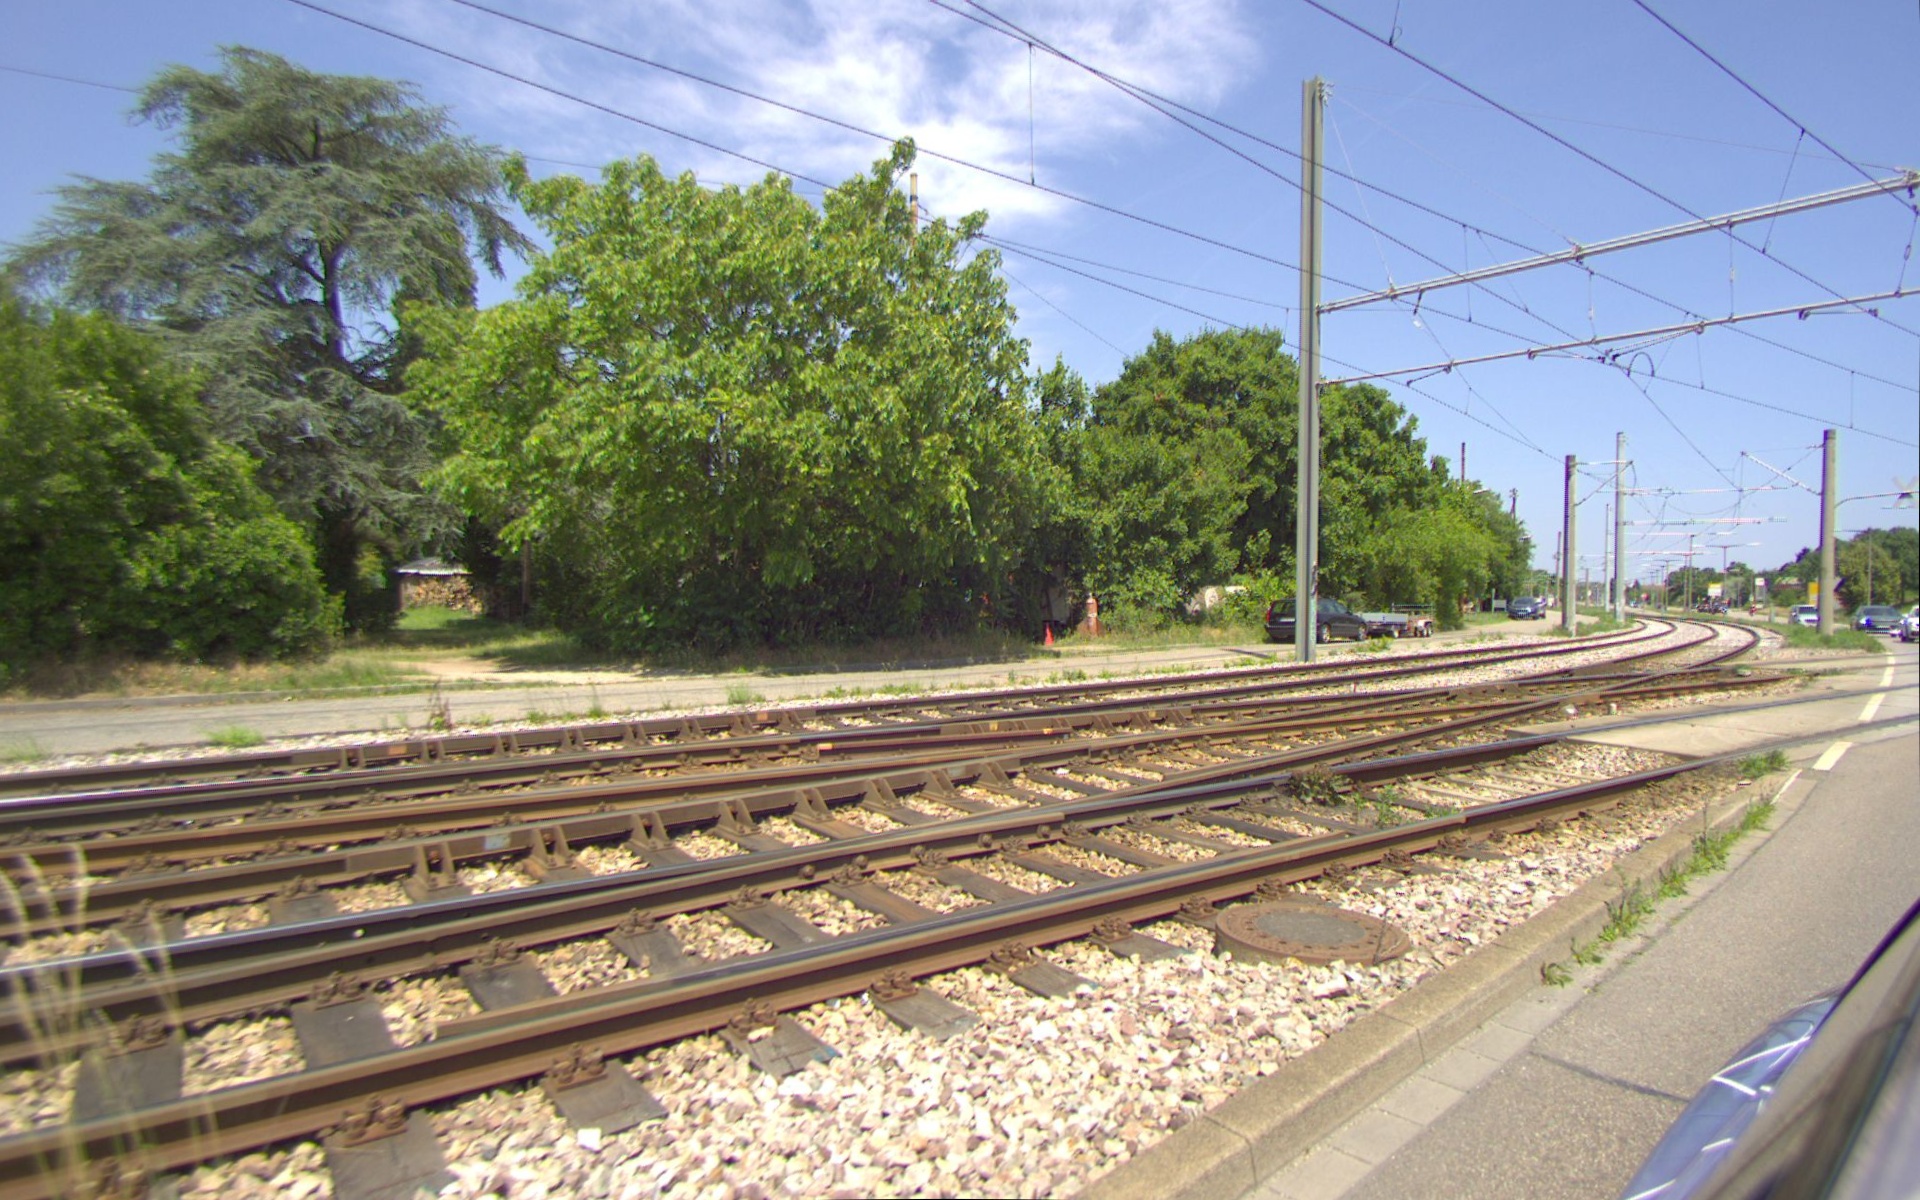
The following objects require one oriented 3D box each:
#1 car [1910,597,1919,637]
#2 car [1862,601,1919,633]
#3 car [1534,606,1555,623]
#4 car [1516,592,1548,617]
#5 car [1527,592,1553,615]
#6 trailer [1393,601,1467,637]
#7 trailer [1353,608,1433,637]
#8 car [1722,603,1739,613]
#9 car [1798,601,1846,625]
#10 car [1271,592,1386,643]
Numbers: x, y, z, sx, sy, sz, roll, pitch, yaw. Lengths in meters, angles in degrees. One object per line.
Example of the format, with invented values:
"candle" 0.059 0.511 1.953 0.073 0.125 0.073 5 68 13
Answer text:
"car" 37.515 0.666 38.406 1.764 1.460 4.072 1 2 39
"car" 45.812 0.808 49.873 1.499 1.449 3.320 1 2 32
"car" 57.591 1.437 99.696 1.672 1.431 4.502 1 2 30
"car" 42.204 0.317 74.659 1.820 1.677 4.761 1 2 32
"car" 45.573 0.268 79.556 1.667 1.644 4.663 1 2 29
"trailer" 18.899 0.734 40.641 1.462 1.237 3.936 2 2 44
"trailer" 16.195 0.828 37.742 1.419 1.007 3.936 -2 -2 44
"car" 124.004 1.319 162.942 1.819 1.622 4.431 1 0 33
"car" 59.135 0.869 69.505 1.794 1.492 3.478 1 2 28
"car" 12.170 0.522 33.284 1.797 1.444 4.665 2 2 44
